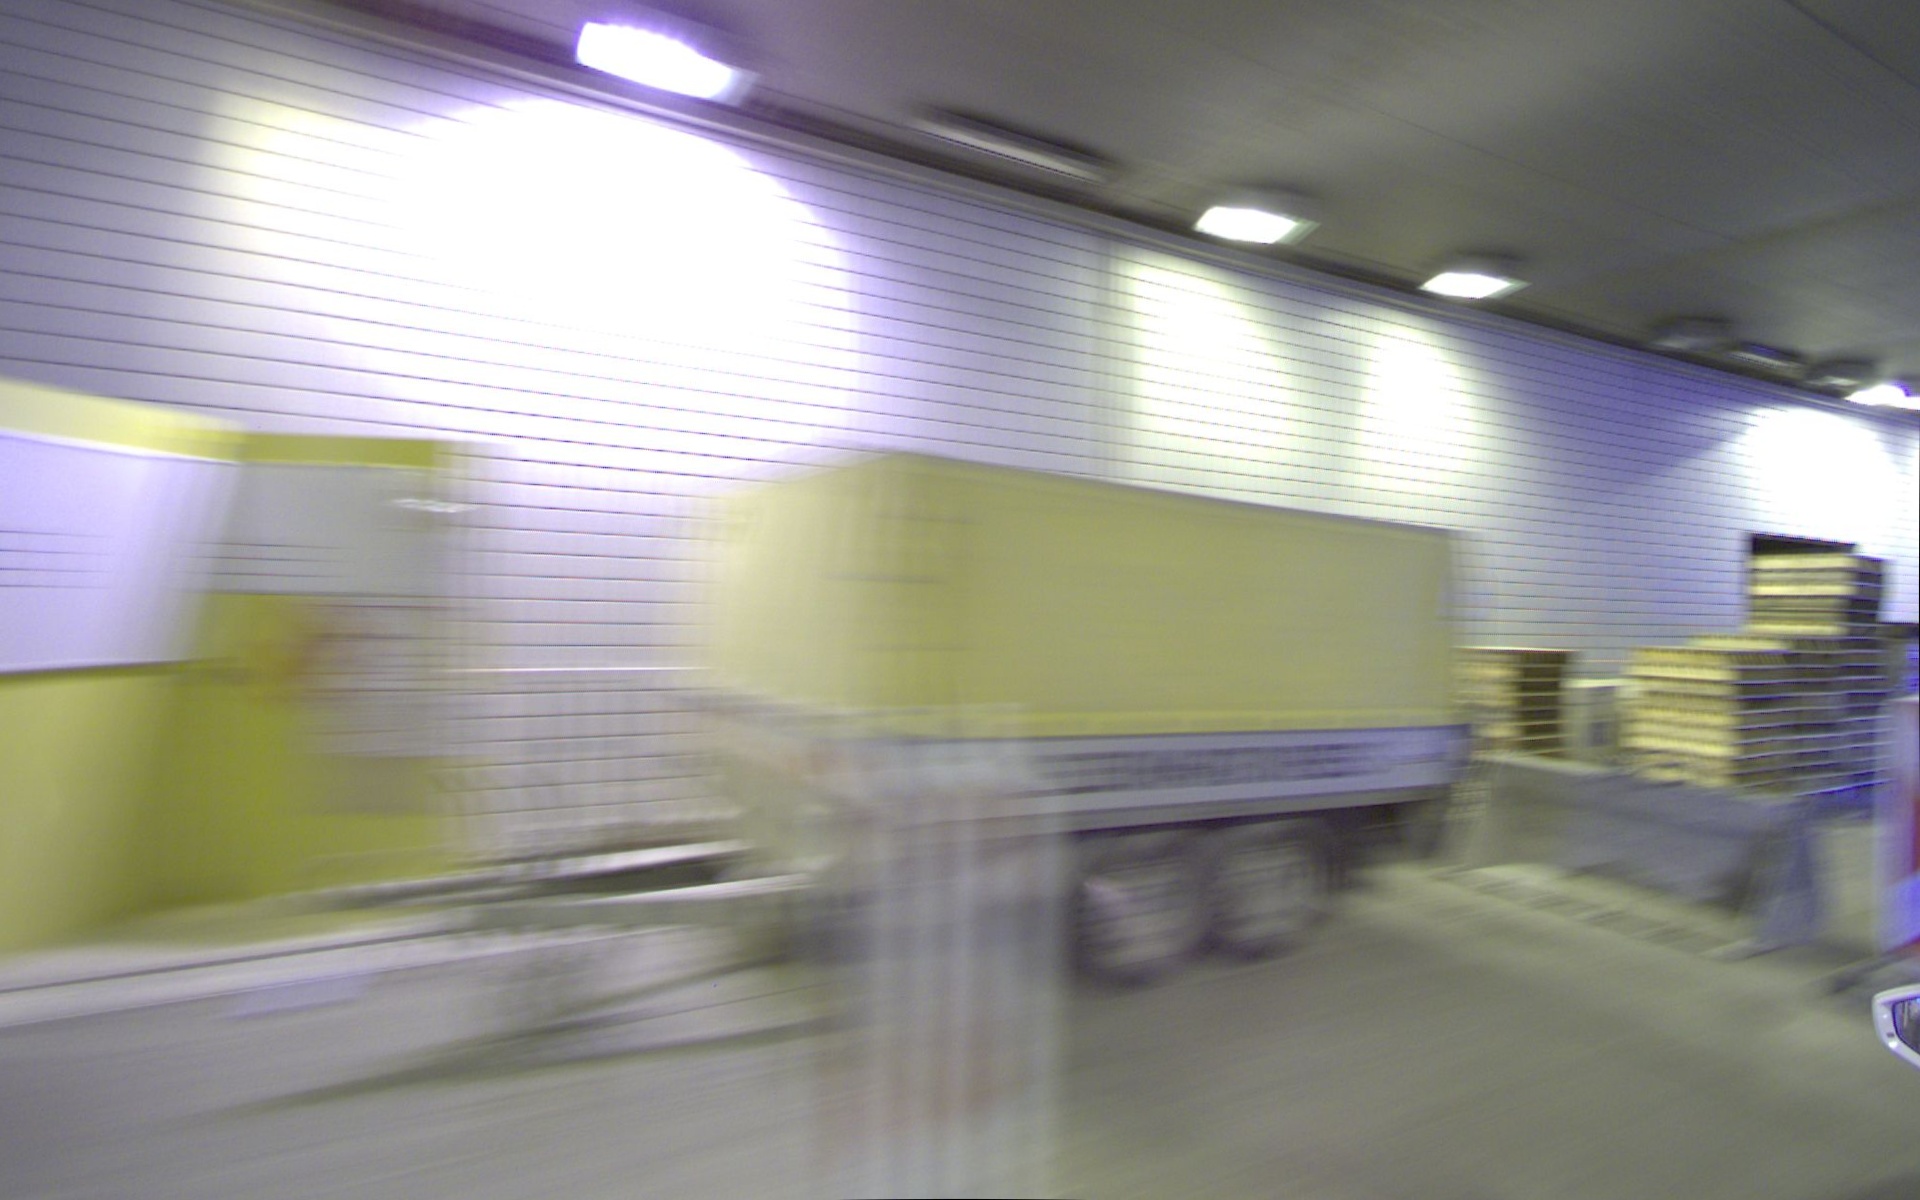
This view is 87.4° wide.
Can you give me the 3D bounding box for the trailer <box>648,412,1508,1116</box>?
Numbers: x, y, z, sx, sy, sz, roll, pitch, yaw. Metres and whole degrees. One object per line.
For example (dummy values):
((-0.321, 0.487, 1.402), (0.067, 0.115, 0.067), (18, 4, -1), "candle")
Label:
((0.559, 0.529, 4.771), (3.428, 2.040, 2.196), (2, -1, -32), "trailer")
